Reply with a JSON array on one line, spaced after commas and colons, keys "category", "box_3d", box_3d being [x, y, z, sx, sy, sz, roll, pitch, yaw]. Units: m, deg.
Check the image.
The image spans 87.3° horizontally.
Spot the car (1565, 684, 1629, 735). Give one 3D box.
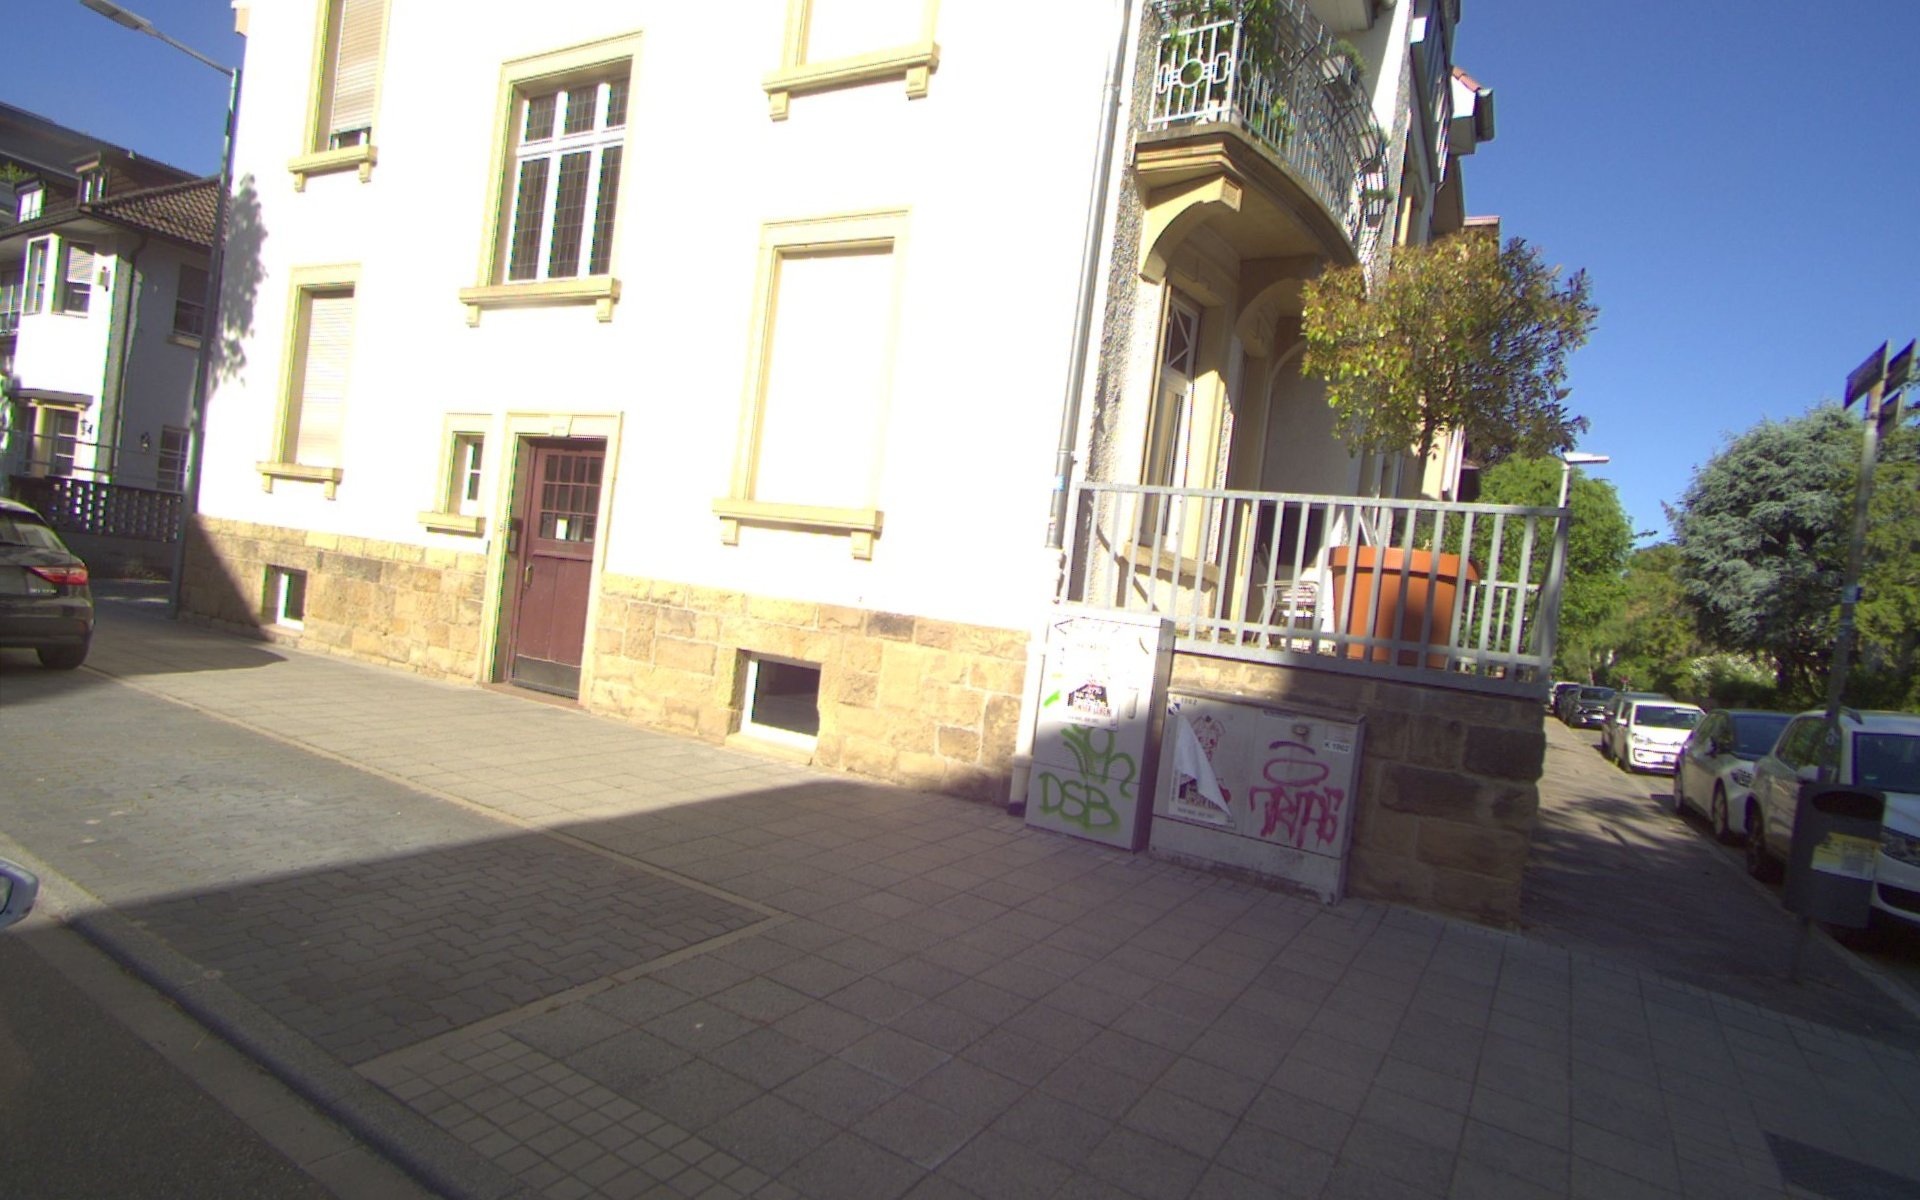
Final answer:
[{"category": "car", "box_3d": [24.354, 4.138, 38.563, 1.645, 1.590, 3.723, 7, 0, 28]}]

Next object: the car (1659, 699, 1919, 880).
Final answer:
[{"category": "car", "box_3d": [10.265, 2.182, 12.459, 1.965, 1.568, 3.996, 5, -1, 27]}]

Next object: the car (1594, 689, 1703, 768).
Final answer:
[{"category": "car", "box_3d": [17.053, 3.130, 25.065, 1.776, 1.600, 3.391, 5, -1, 28]}]

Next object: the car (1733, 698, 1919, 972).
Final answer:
[{"category": "car", "box_3d": [7.511, 1.692, 7.723, 1.761, 1.610, 3.994, 5, -1, 29]}]

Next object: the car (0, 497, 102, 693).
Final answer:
[{"category": "car", "box_3d": [-9.206, -0.223, 8.608, 3.868, 1.459, 1.620, 8, 3, 30]}]

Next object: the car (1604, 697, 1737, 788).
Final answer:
[{"category": "car", "box_3d": [14.768, 2.897, 21.091, 1.776, 1.468, 3.391, 5, -1, 28]}]
